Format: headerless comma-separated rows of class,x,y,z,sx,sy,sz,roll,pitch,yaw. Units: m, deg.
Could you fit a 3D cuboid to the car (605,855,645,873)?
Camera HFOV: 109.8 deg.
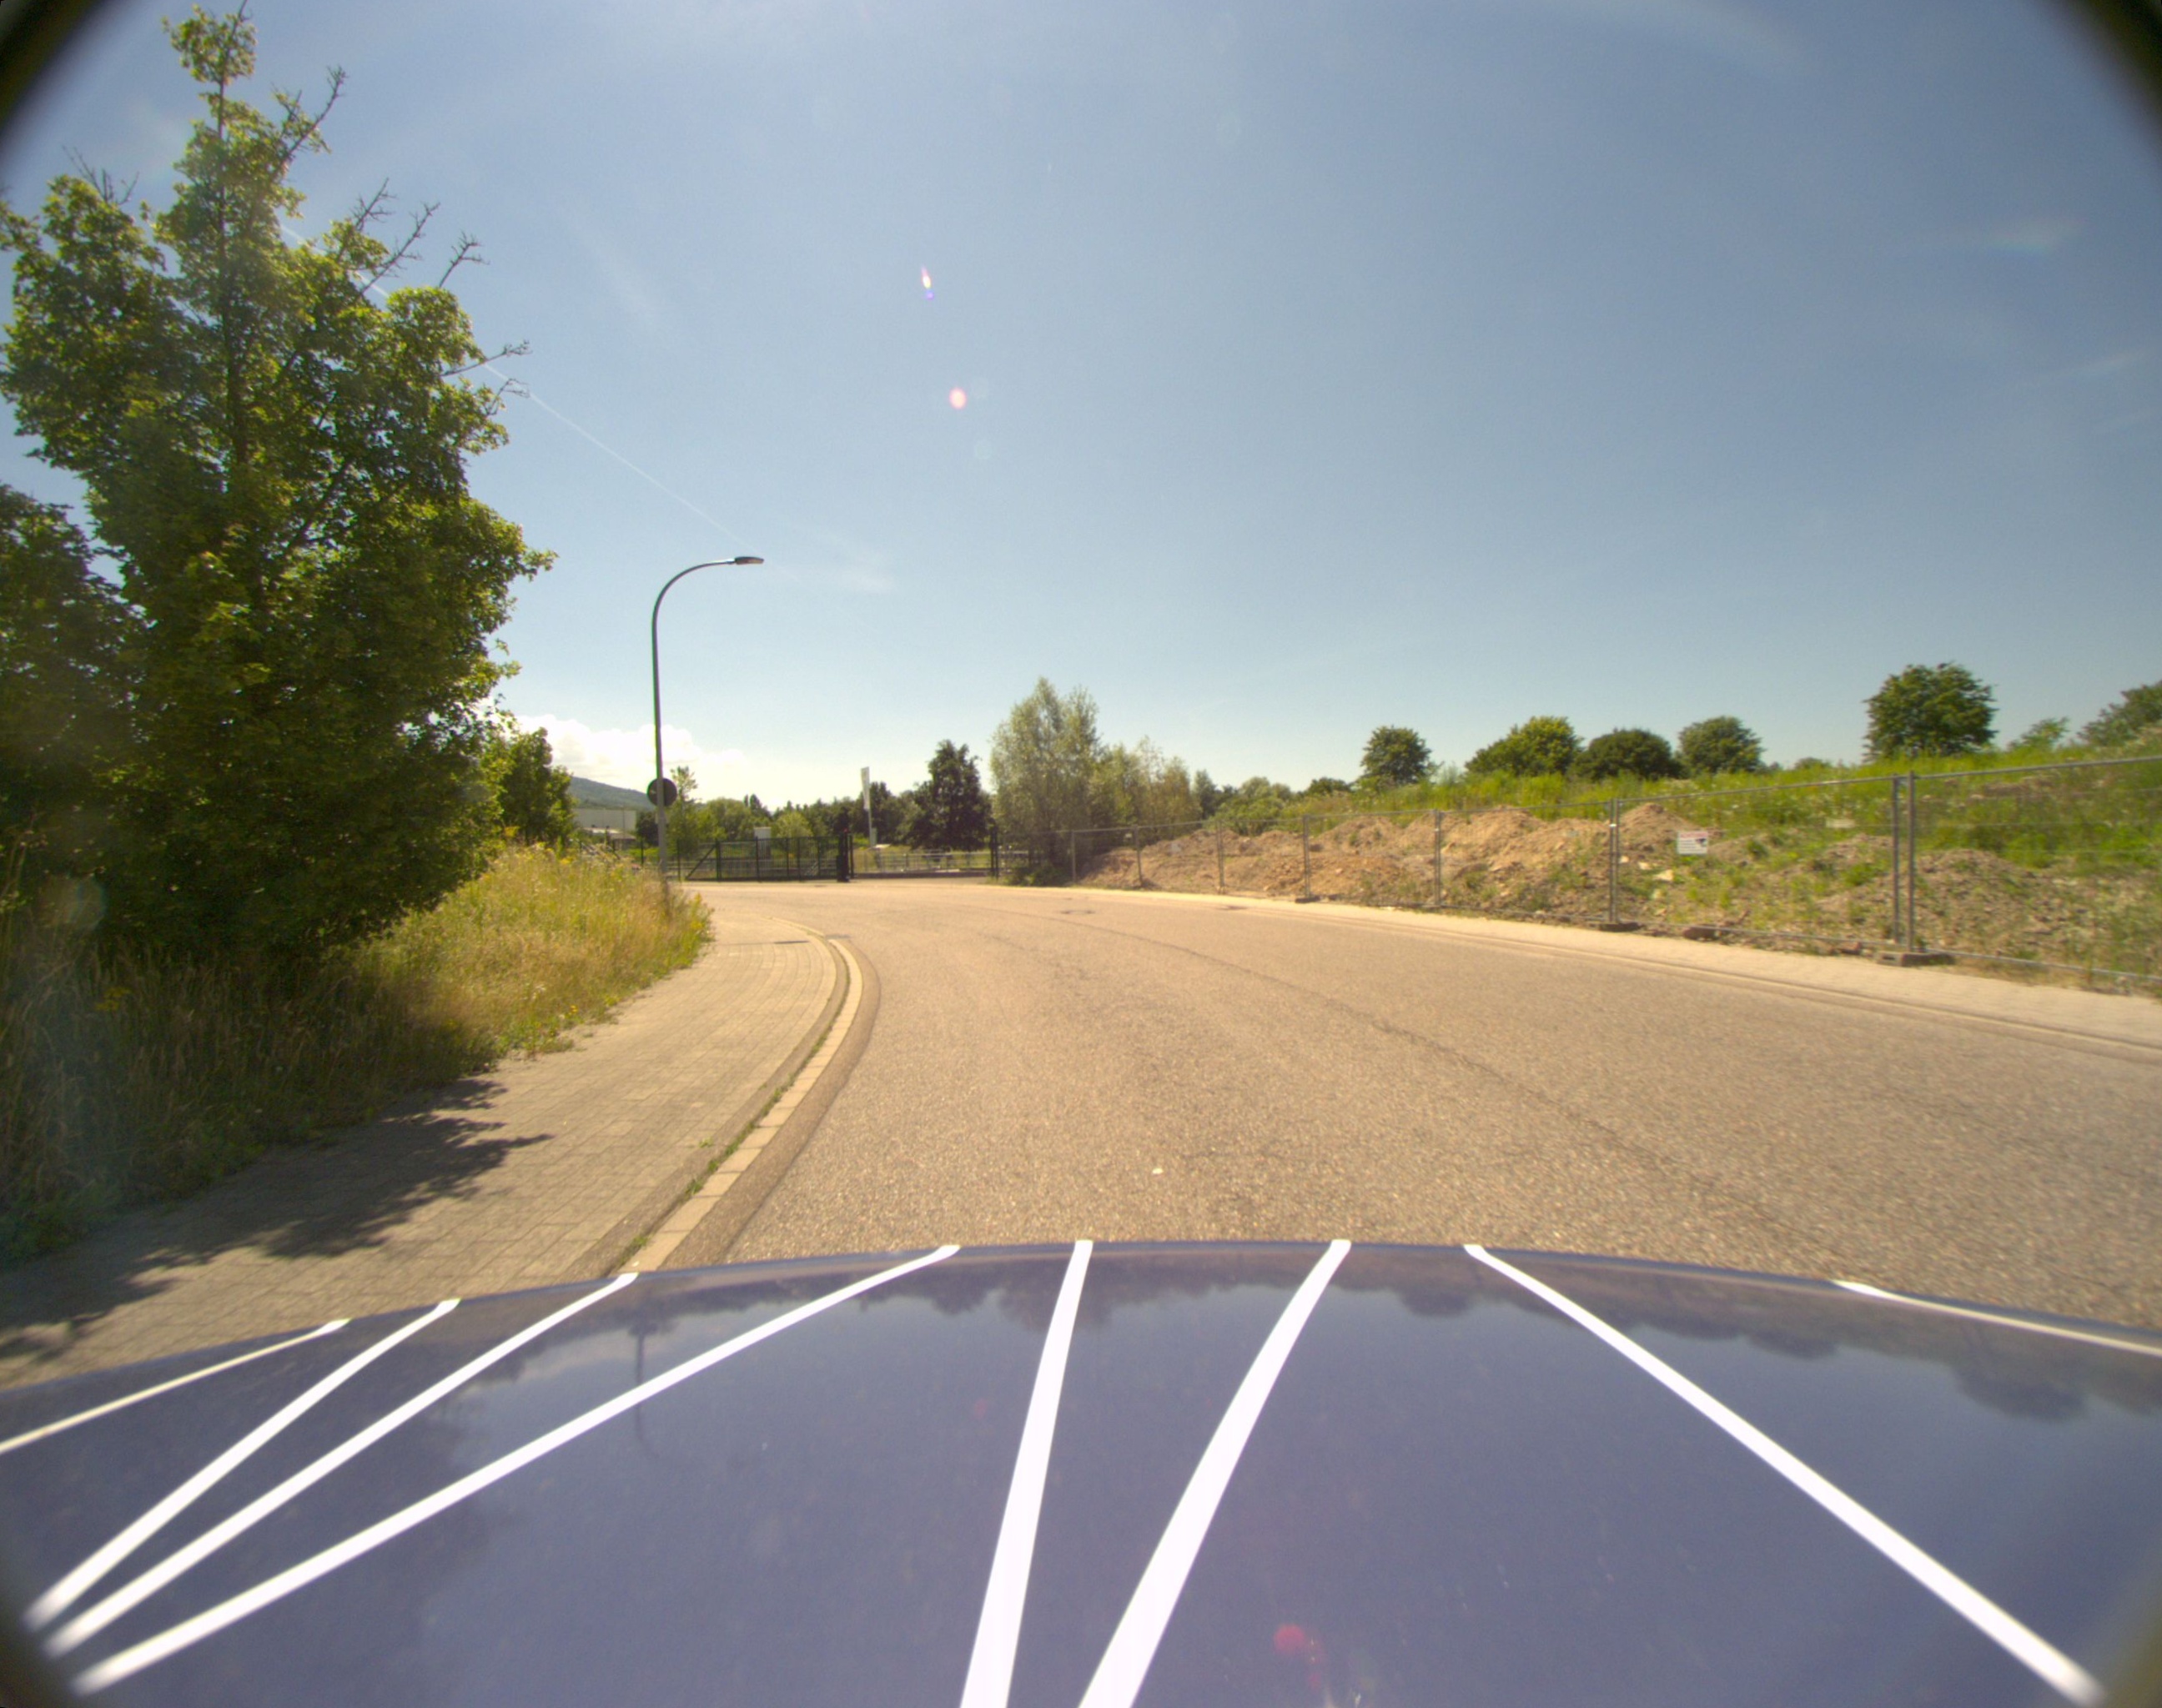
car,-44.939,0.975,74.861,3.989,1.609,1.804,-1,1,34
